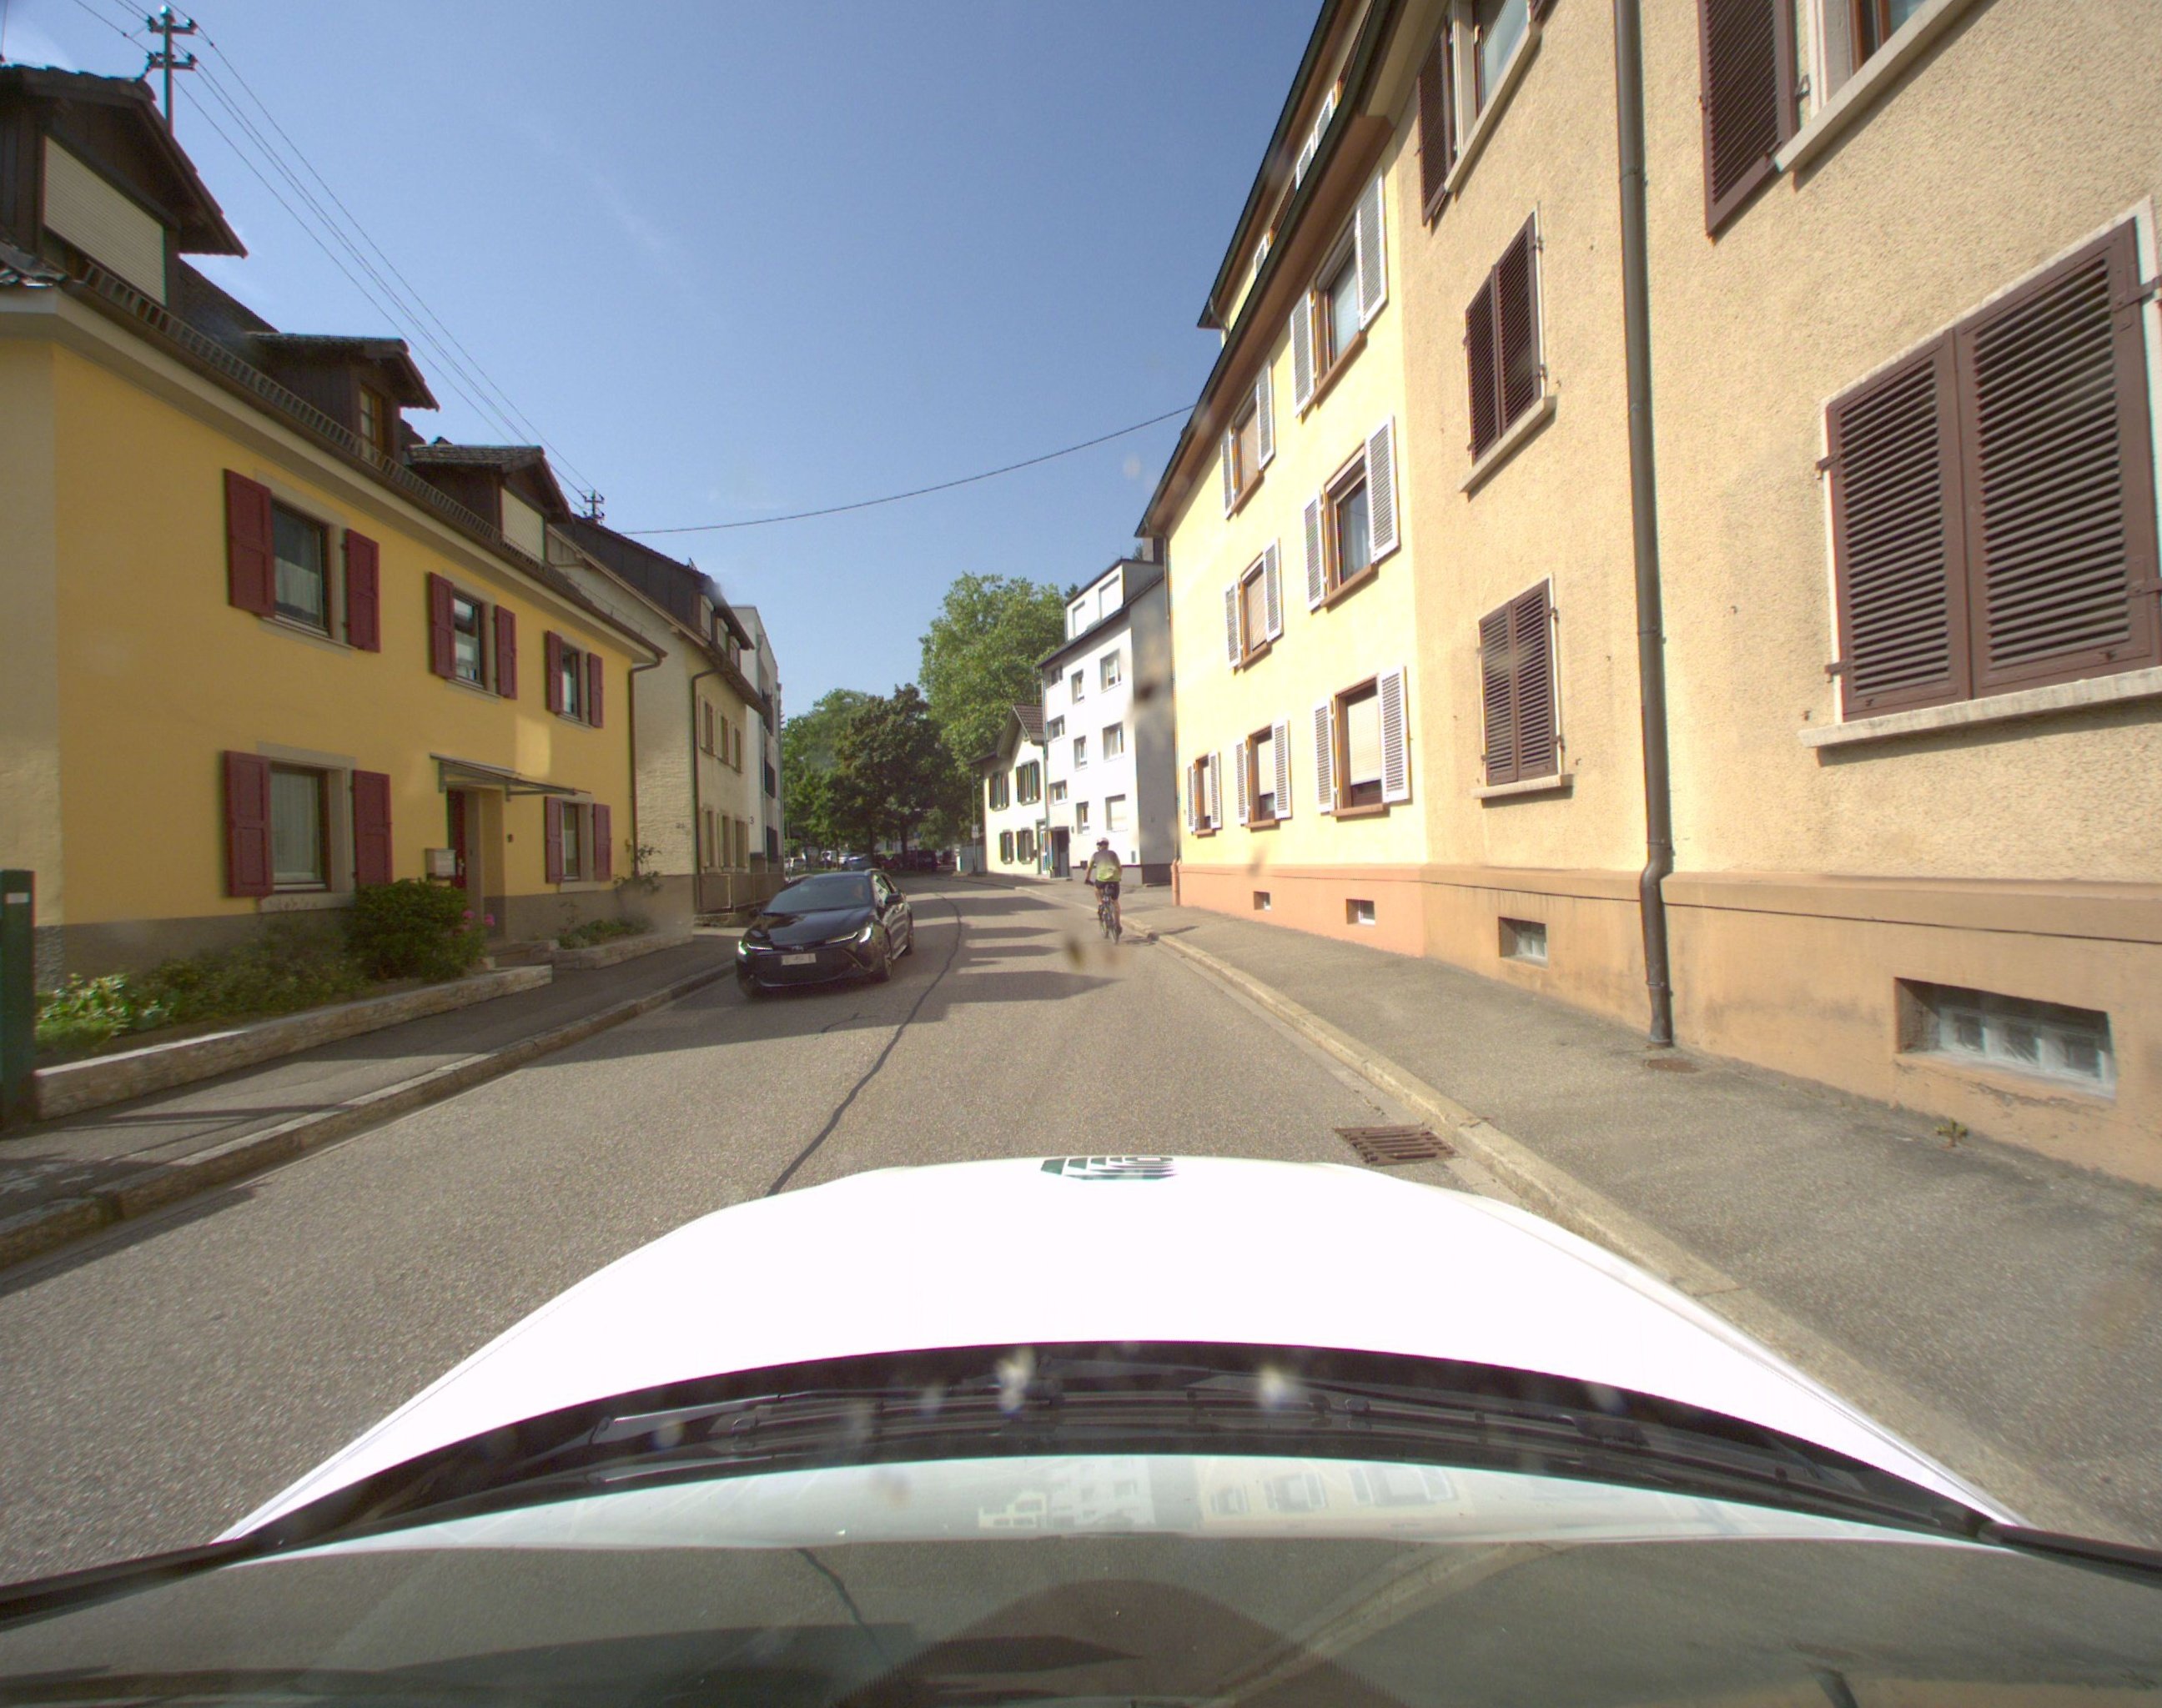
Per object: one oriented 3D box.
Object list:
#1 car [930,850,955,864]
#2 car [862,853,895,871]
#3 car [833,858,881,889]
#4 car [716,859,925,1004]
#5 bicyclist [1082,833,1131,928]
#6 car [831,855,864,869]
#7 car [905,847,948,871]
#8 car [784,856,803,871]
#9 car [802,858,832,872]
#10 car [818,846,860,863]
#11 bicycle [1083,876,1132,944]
[{"bbox_3d":[-13.091,0.288,77.006,1.588,1.257,3.831,-3,1,-20],"label":"car"},{"bbox_3d":[-18.338,0.708,73.654,1.720,1.542,3.959,-3,2,-33],"label":"car"},{"bbox_3d":[-13.155,1.140,47.629,1.834,1.537,3.964,-6,1,-27],"label":"car"},{"bbox_3d":[-3.337,0.883,11.317,1.656,1.449,4.253,-5,0,-4],"label":"car"},{"bbox_3d":[0.421,0.431,13.723,0.684,1.531,0.715,-3,-1,-4],"label":"bicyclist"},{"bbox_3d":[-26.521,0.897,92.626,1.797,1.552,4.014,-2,0,13],"label":"car"},{"bbox_3d":[-12.102,0.352,63.639,1.835,1.791,3.959,-3,2,-33],"label":"car"},{"bbox_3d":[-31.551,1.061,89.349,1.752,1.552,3.724,-2,0,-23],"label":"car"},{"bbox_3d":[-27.663,1.161,85.441,1.688,1.468,3.368,-2,0,-43],"label":"car"},{"bbox_3d":[-28.554,0.006,96.220,1.975,1.855,4.729,-2,0,27],"label":"car"},{"bbox_3d":[0.430,0.923,13.808,0.697,1.035,1.469,-1,0,-3],"label":"bicycle"}]
